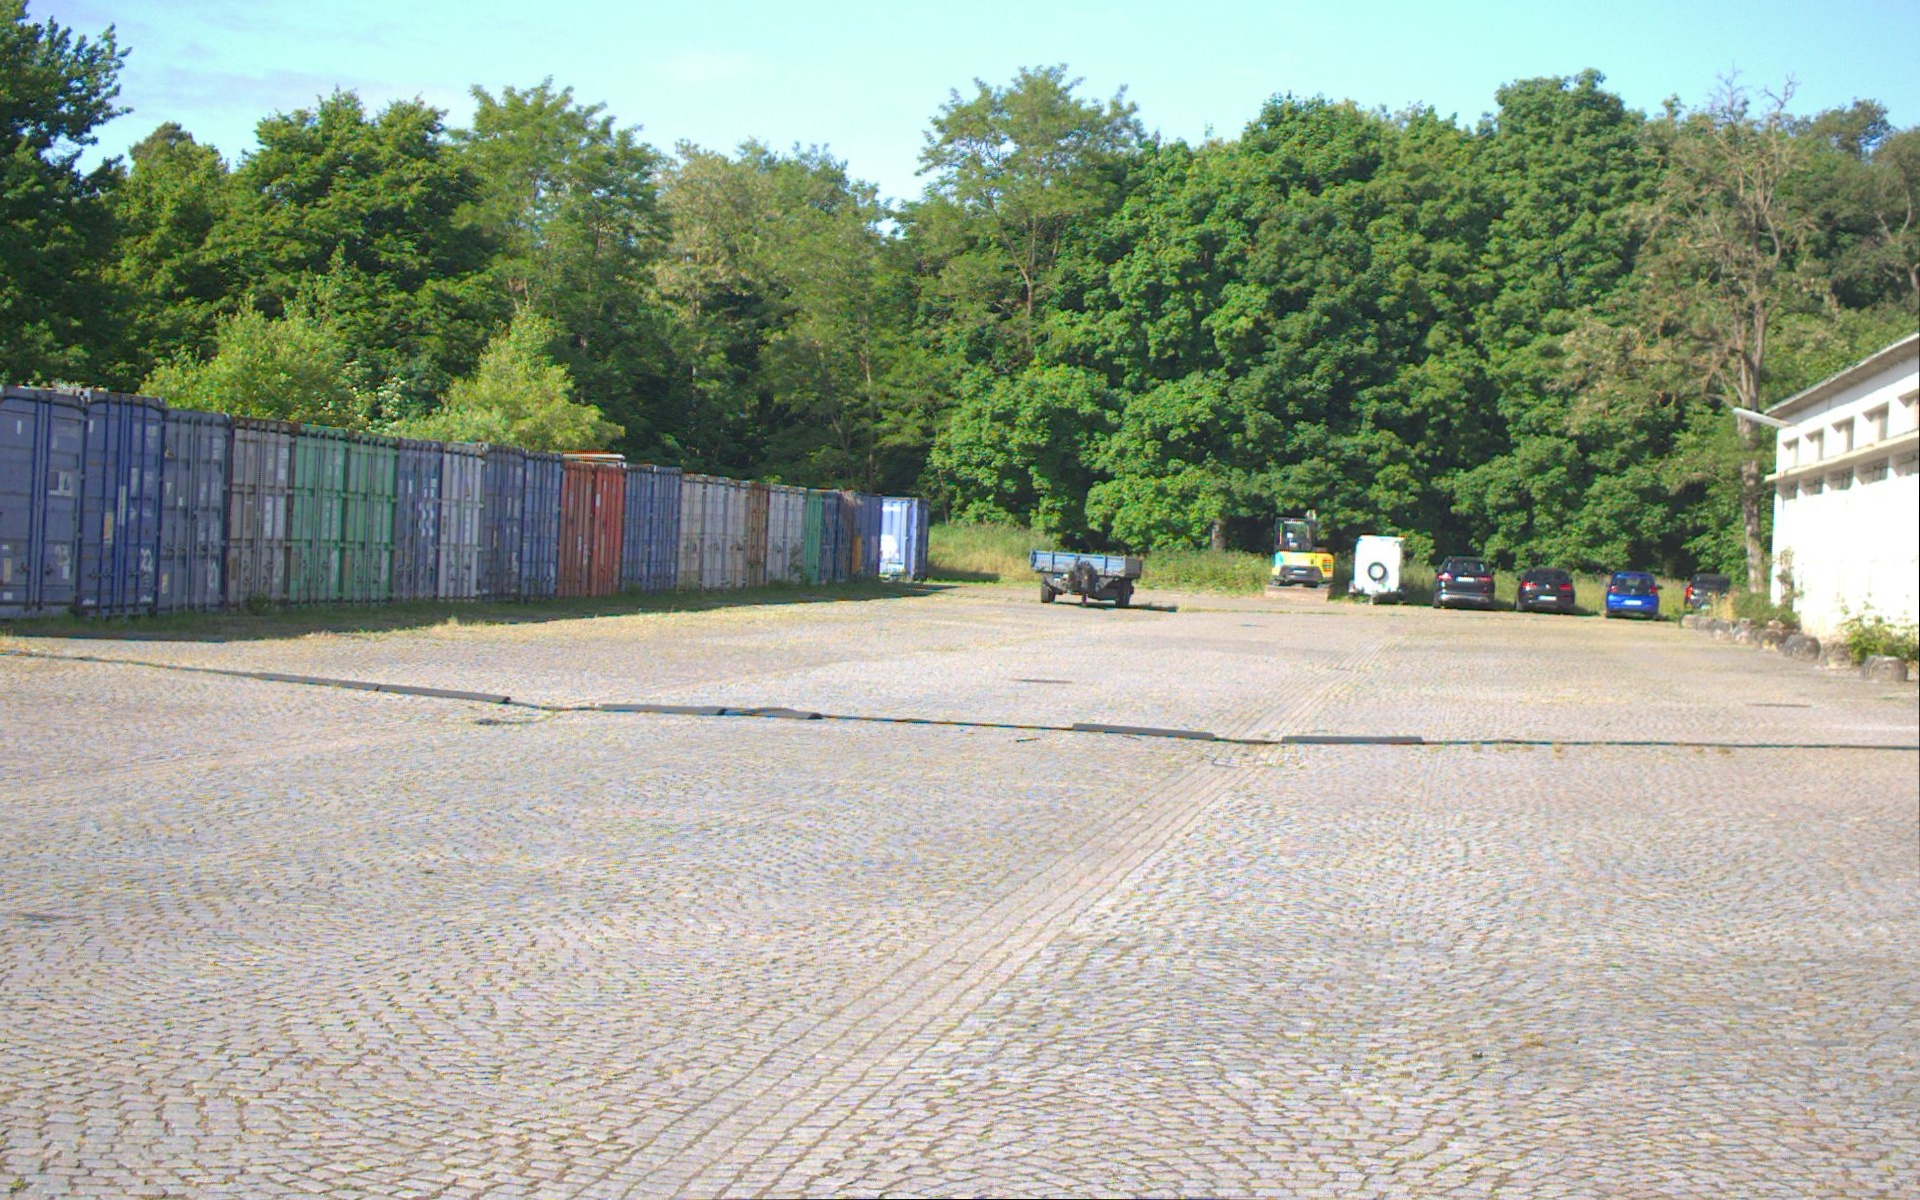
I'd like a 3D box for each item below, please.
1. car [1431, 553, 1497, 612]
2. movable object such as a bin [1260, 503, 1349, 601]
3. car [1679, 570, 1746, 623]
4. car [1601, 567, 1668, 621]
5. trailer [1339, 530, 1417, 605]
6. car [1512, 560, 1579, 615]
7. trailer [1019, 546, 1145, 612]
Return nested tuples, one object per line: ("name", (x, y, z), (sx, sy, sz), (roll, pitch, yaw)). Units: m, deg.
("car", (15.686, -0.568, 107.026), (1.864, 1.583, 4.294), (4, 2, 8))
("movable object such as a bin", (11.136, -1.589, 110.737), (2.307, 2.886, 5.749), (4, 2, 9))
("car", (23.548, -0.130, 107.533), (1.745, 1.431, 4.180), (4, 2, 15))
("car", (20.917, -0.197, 106.519), (1.745, 1.431, 4.180), (4, 2, 14))
("trailer", (13.380, -1.069, 109.790), (2.194, 2.087, 5.749), (4, 2, 8))
("car", (18.196, -0.395, 107.006), (1.864, 1.465, 4.294), (4, 2, 8))
("trailer", (3.286, -0.591, 91.047), (2.706, 1.460, 6.246), (4, 2, 7))
